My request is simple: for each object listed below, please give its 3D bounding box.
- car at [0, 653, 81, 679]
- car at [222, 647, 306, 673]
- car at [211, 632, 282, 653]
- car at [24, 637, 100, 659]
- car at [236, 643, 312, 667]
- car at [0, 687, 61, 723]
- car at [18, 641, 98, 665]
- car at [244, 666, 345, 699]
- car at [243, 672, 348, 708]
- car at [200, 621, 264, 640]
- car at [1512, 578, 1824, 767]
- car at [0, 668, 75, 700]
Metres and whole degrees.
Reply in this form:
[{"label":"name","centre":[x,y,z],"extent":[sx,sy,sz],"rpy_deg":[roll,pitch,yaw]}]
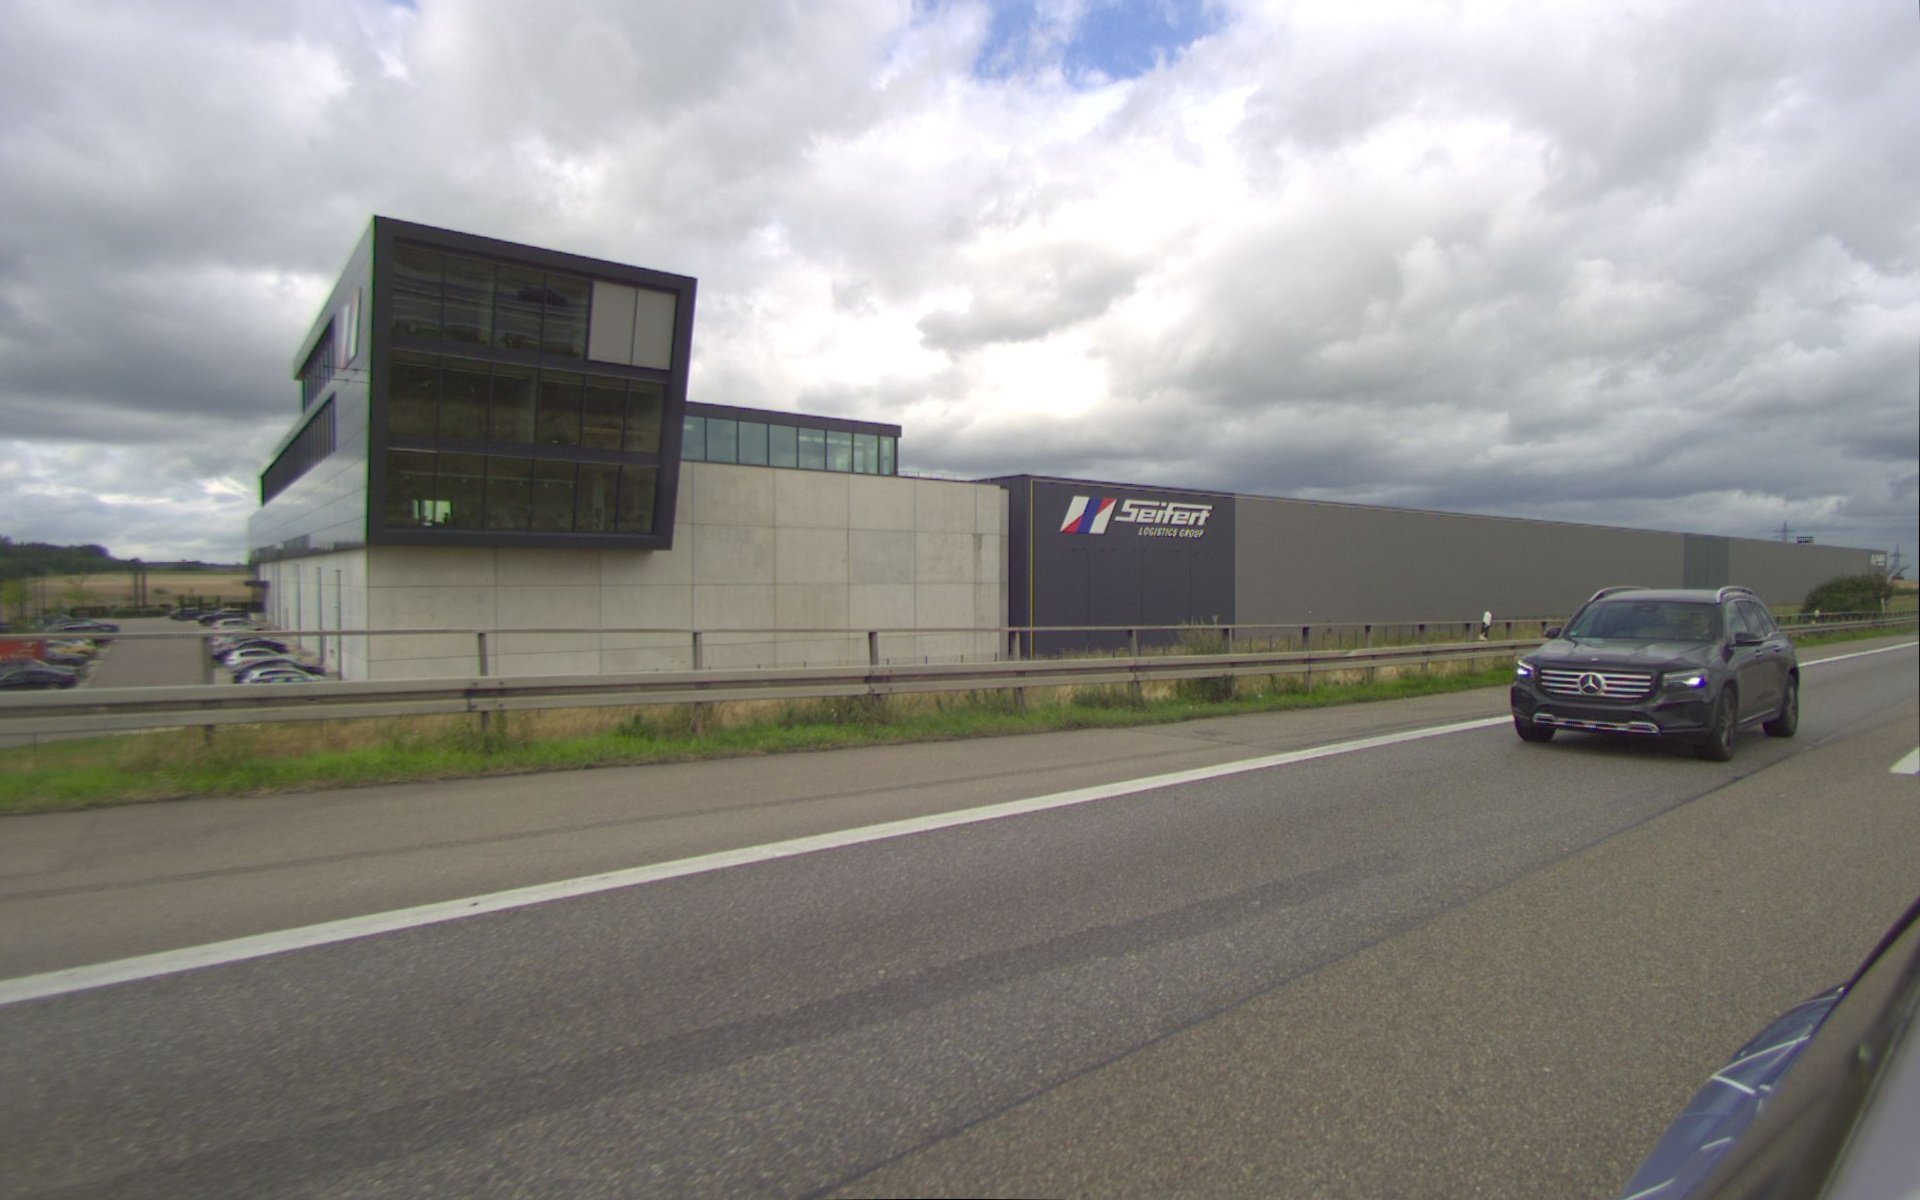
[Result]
[{"label":"car","centre":[-61.595,4.384,67.677],"extent":[4.182,1.514,1.678],"rpy_deg":[0,-1,-41]},{"label":"car","centre":[-46.172,3.972,67.179],"extent":[4.484,1.514,1.678],"rpy_deg":[0,-1,-41]},{"label":"car","centre":[-57.034,3.401,80.913],"extent":[4.484,1.514,1.678],"rpy_deg":[0,-1,-41]},{"label":"car","centre":[-67.609,3.602,76.273],"extent":[4.182,1.514,1.678],"rpy_deg":[0,-1,-41]},{"label":"car","centre":[-50.377,4.011,74.373],"extent":[4.484,1.514,1.678],"rpy_deg":[0,-1,-41]},{"label":"car","centre":[-45.843,5.067,48.202],"extent":[4.484,1.514,1.678],"rpy_deg":[0,-1,-41]},{"label":"car","centre":[-64.093,3.712,71.976],"extent":[4.182,1.514,1.678],"rpy_deg":[0,-1,-41]},{"label":"car","centre":[-36.485,4.496,55.565],"extent":[4.484,1.514,1.678],"rpy_deg":[0,-1,-41]},{"label":"car","centre":[-34.972,4.703,53.315],"extent":[4.484,1.514,1.678],"rpy_deg":[0,-1,-41]},{"label":"car","centre":[-64.811,2.678,90.164],"extent":[4.484,1.513,1.678],"rpy_deg":[-1,0,-41]},{"label":"car","centre":[7.877,0.597,11.101],"extent":[4.285,1.629,1.837],"rpy_deg":[-1,3,-41]},{"label":"car","centre":[-51.837,4.676,56.052],"extent":[4.182,1.514,1.678],"rpy_deg":[0,-1,-41]}]
